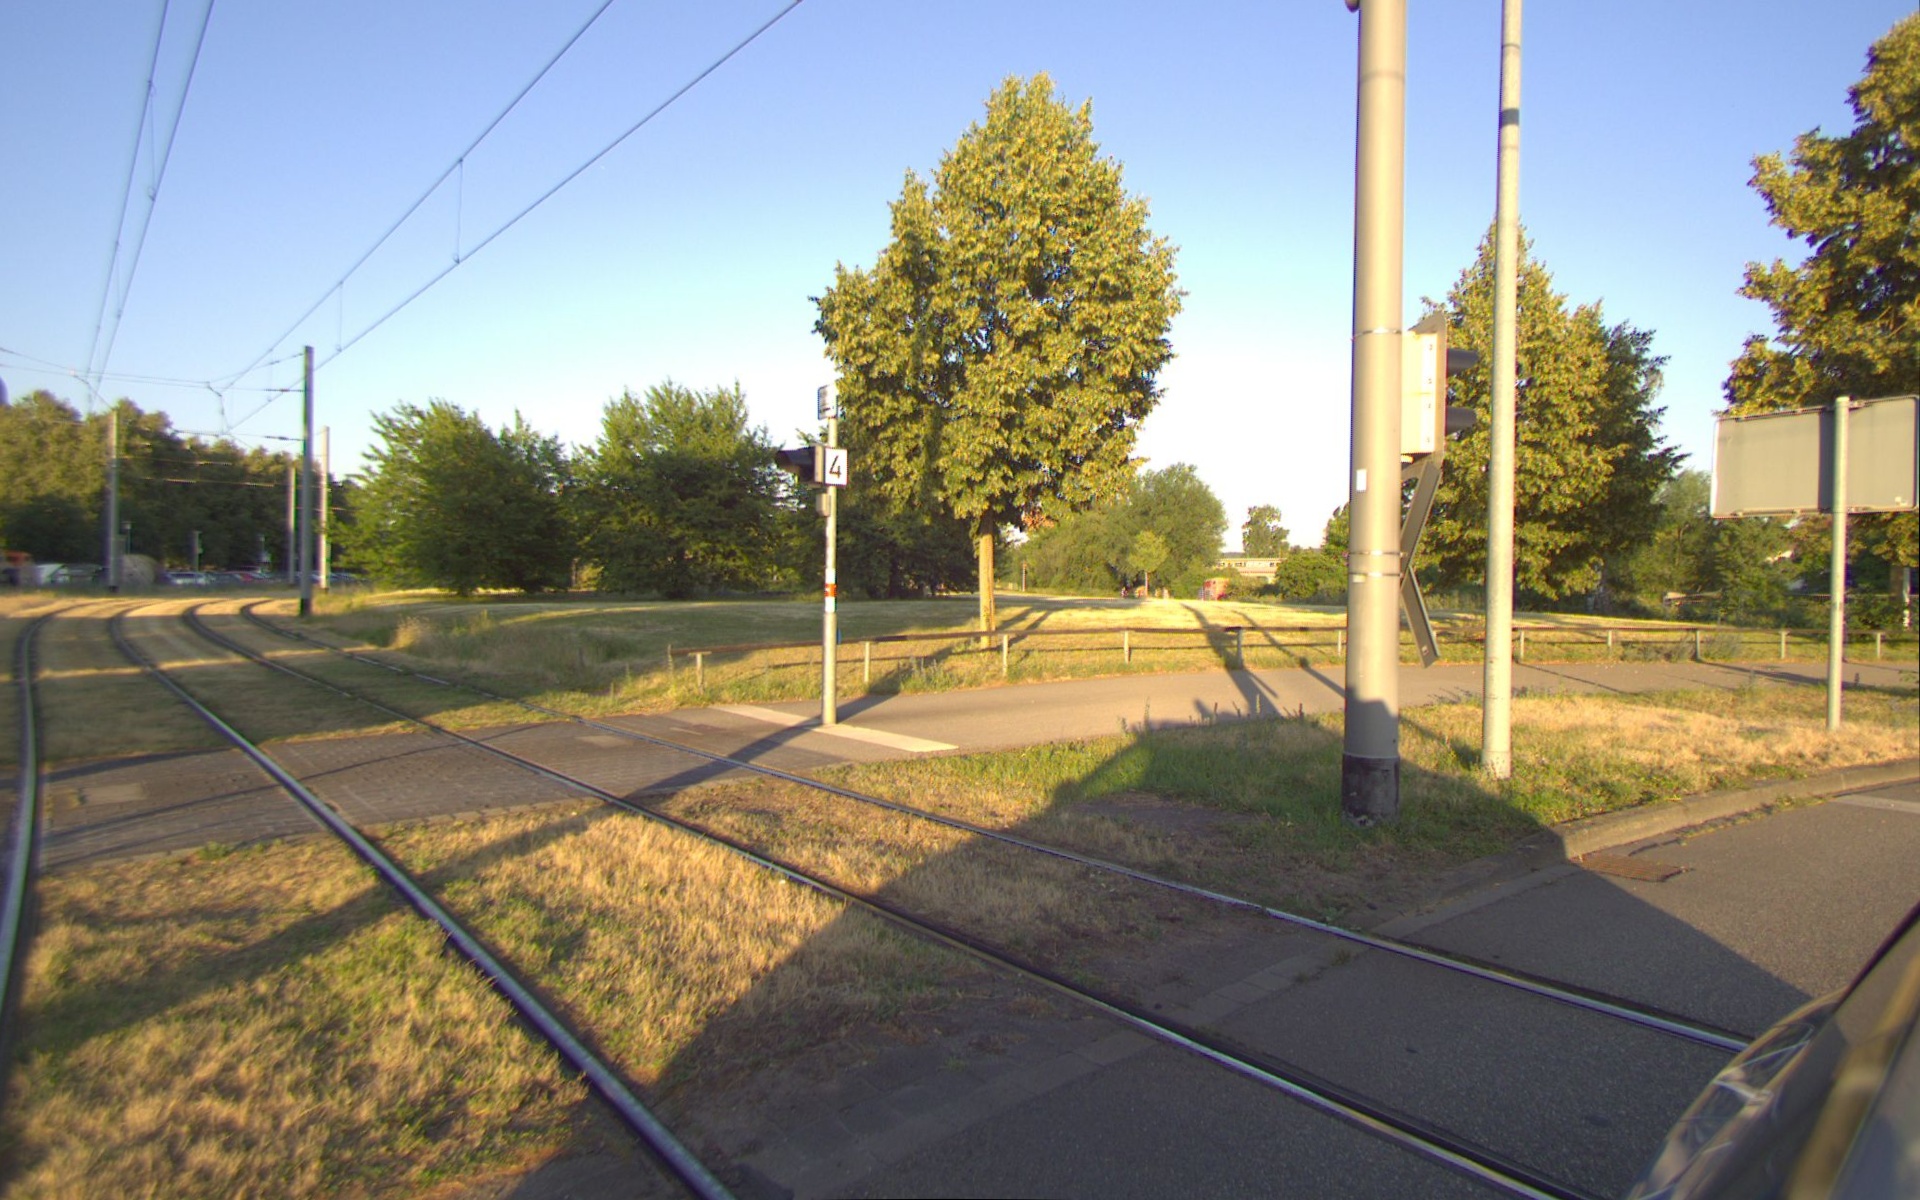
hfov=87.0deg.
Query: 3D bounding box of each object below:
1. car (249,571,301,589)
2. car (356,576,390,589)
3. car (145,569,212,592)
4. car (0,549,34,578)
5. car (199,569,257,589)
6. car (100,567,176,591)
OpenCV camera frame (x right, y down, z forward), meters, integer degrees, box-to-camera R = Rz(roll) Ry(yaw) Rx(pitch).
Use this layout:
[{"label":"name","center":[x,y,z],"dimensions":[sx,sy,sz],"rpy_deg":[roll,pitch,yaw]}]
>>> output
[{"label":"car","center":[-61.533,-1.781,90.960],"dimensions":[3.536,1.501,1.714],"rpy_deg":[1,-1,-24]},{"label":"car","center":[-73.769,-2.130,127.290],"dimensions":[3.536,1.501,1.714],"rpy_deg":[1,-1,-24]},{"label":"car","center":[-57.197,-1.426,74.143],"dimensions":[3.536,1.501,1.714],"rpy_deg":[1,-1,-24]},{"label":"car","center":[-70.482,-2.679,73.819],"dimensions":[3.916,2.121,1.907],"rpy_deg":[0,1,-21]},{"label":"car","center":[-60.347,-1.750,83.503],"dimensions":[3.536,1.501,1.714],"rpy_deg":[1,-1,-24]},{"label":"car","center":[-54.962,-1.383,67.735],"dimensions":[3.536,1.501,1.714],"rpy_deg":[1,-1,-24]}]
